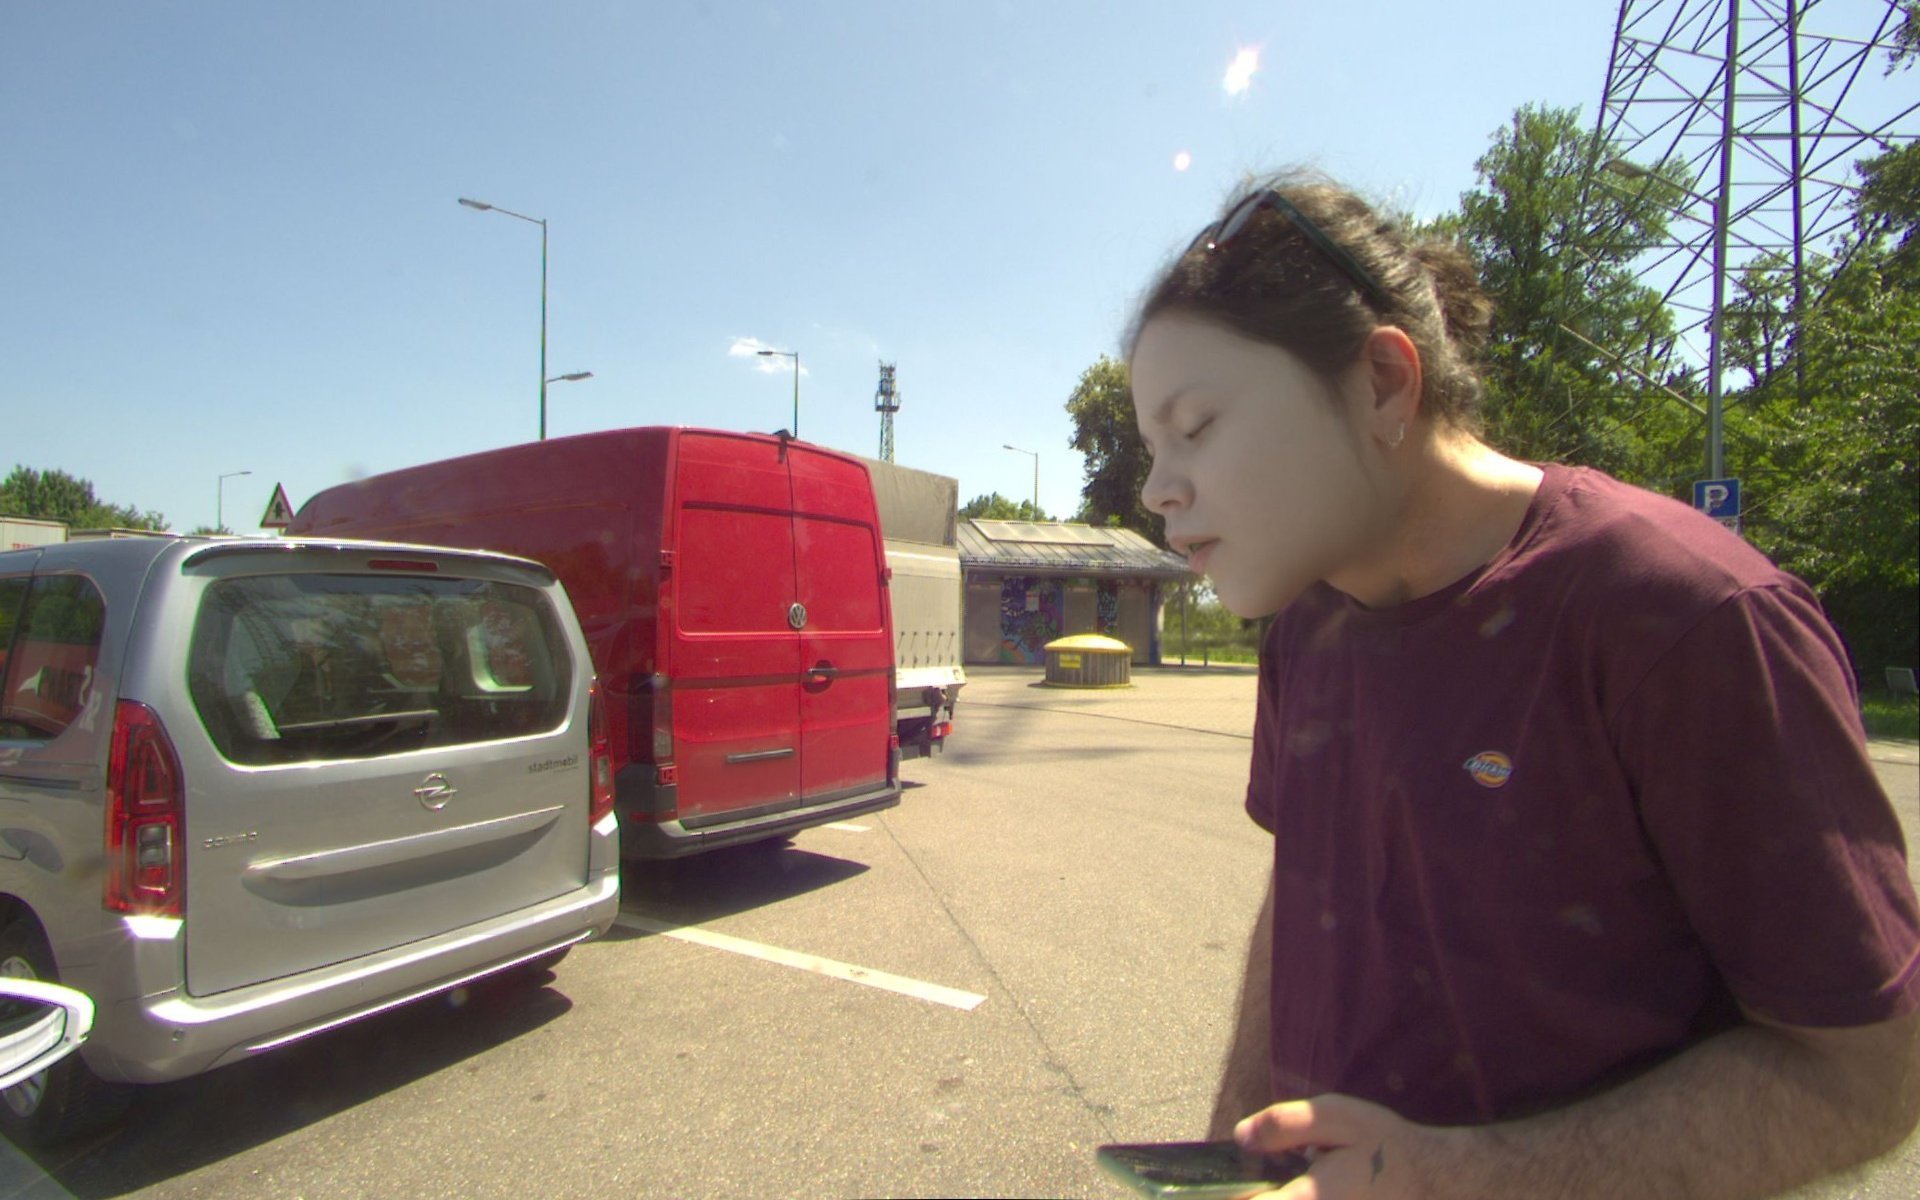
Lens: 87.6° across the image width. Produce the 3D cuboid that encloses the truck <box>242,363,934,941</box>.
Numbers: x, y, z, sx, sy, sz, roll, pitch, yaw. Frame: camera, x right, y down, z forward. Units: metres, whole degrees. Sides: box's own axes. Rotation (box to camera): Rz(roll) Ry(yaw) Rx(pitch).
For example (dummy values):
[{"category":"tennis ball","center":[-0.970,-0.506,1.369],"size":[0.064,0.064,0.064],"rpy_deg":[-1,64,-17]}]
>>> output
[{"category":"truck","center":[-2.860,0.263,6.983],"size":[5.233,2.658,1.987],"rpy_deg":[0,-1,37]}]

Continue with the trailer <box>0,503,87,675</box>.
[{"category":"trailer","center":[-28.794,-0.280,28.016],"size":[13.374,4.178,2.871],"rpy_deg":[0,-1,33]}]

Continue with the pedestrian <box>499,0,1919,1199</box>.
[{"category":"pedestrian","center":[0.313,0.469,0.765],"size":[0.926,1.798,0.827],"rpy_deg":[1,-1,28]}]

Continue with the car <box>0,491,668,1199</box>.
[{"category":"car","center":[-3.346,0.637,4.198],"size":[3.938,1.776,1.824],"rpy_deg":[0,-1,29]}]

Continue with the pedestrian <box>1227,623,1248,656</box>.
[{"category":"pedestrian","center":[12.050,1.695,43.509],"size":[0.579,1.402,0.754],"rpy_deg":[1,0,-8]}]

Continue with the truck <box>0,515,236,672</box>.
[{"category":"truck","center":[-27.988,-0.120,31.770],"size":[14.316,4.175,2.901],"rpy_deg":[0,-3,33]}]

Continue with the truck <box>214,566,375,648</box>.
[{"category":"truck","center":[-30.706,0.334,46.058],"size":[8.407,3.482,3.019],"rpy_deg":[0,-1,33]}]
